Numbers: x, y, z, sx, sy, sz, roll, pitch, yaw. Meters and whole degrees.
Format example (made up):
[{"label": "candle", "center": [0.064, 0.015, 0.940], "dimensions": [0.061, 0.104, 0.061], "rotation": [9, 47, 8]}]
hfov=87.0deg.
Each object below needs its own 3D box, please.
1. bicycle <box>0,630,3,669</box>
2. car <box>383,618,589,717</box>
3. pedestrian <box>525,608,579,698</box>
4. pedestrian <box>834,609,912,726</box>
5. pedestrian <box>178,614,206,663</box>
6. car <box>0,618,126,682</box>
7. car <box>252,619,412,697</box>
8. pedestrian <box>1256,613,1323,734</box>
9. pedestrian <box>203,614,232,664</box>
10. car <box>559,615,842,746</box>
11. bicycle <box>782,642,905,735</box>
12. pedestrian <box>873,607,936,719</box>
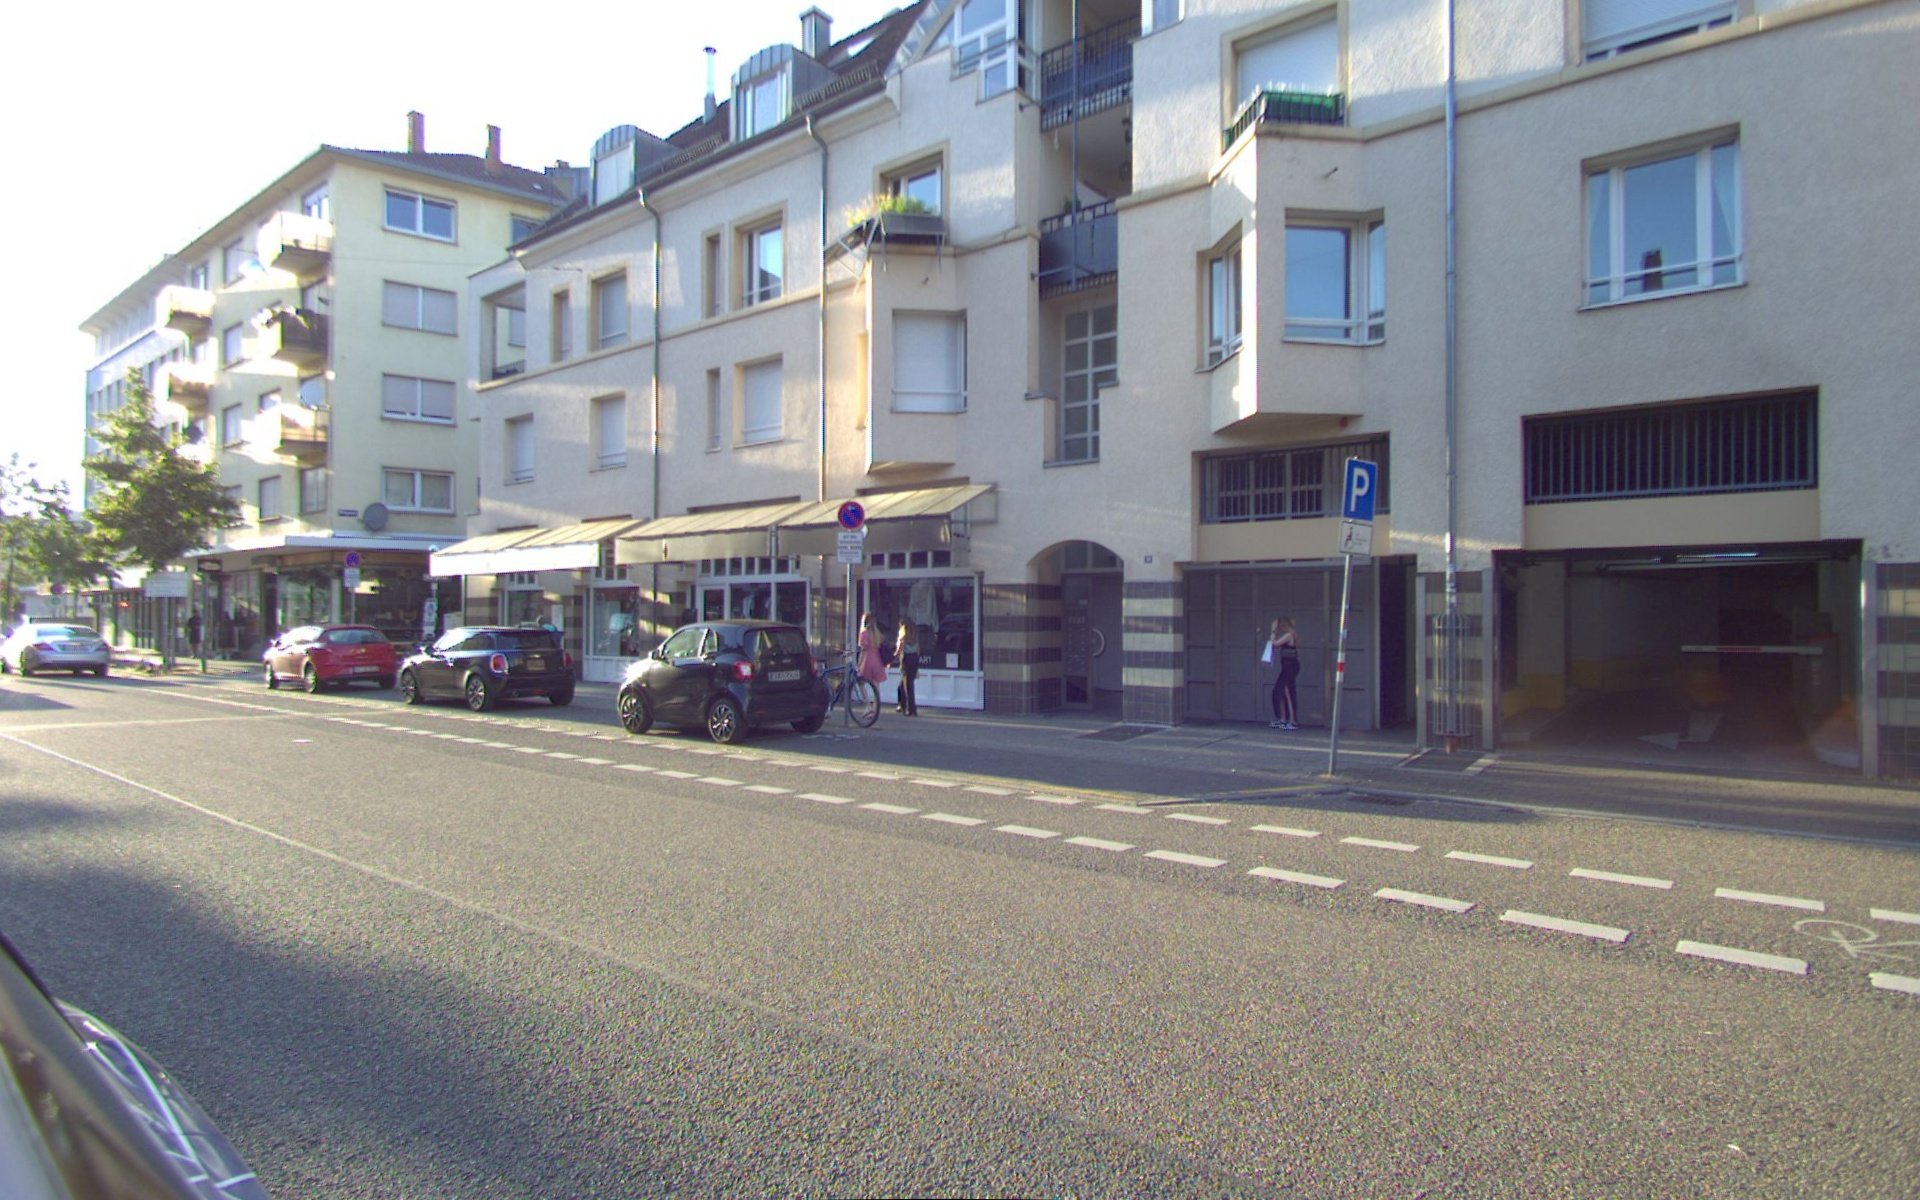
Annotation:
[{"label": "bicycle", "center": [-25.438, 1.401, 26.247], "dimensions": [2.129, 1.252, 0.656], "rotation": [-1, -4, 42]}, {"label": "car", "center": [-8.566, 1.131, 18.200], "dimensions": [3.780, 1.592, 1.773], "rotation": [-1, -2, 37]}, {"label": "pedestrian", "center": [-8.072, 1.027, 20.026], "dimensions": [0.737, 1.747, 0.711], "rotation": [-1, -1, 38]}, {"label": "pedestrian", "center": [-1.313, 0.992, 15.317], "dimensions": [1.039, 1.713, 0.624], "rotation": [-1, -2, 38]}, {"label": "pedestrian", "center": [-28.934, 1.446, 38.139], "dimensions": [0.666, 1.805, 0.711], "rotation": [-1, -1, 39]}, {"label": "car", "center": [-24.867, 1.336, 27.859], "dimensions": [4.398, 1.617, 1.975], "rotation": [-1, -3, 38]}, {"label": "car", "center": [-14.006, 1.224, 22.521], "dimensions": [3.780, 1.592, 1.773], "rotation": [-1, -2, 37]}, {"label": "pedestrian", "center": [4.446, 0.969, 13.665], "dimensions": [0.766, 1.584, 0.535], "rotation": [2, -2, -39]}, {"label": "pedestrian", "center": [-27.179, 1.414, 37.049], "dimensions": [0.666, 1.805, 0.711], "rotation": [-1, -1, 39]}, {"label": "car", "center": [-3.714, 1.023, 14.242], "dimensions": [3.959, 1.592, 1.773], "rotation": [-1, -2, 37]}, {"label": "bicycle", "center": [-1.689, 1.218, 14.421], "dimensions": [1.976, 1.215, 0.552], "rotation": [-1, -2, 41]}, {"label": "pedestrian", "center": [-0.871, 0.974, 15.929], "dimensions": [0.830, 1.713, 0.554], "rotation": [-1, -2, 38]}]
